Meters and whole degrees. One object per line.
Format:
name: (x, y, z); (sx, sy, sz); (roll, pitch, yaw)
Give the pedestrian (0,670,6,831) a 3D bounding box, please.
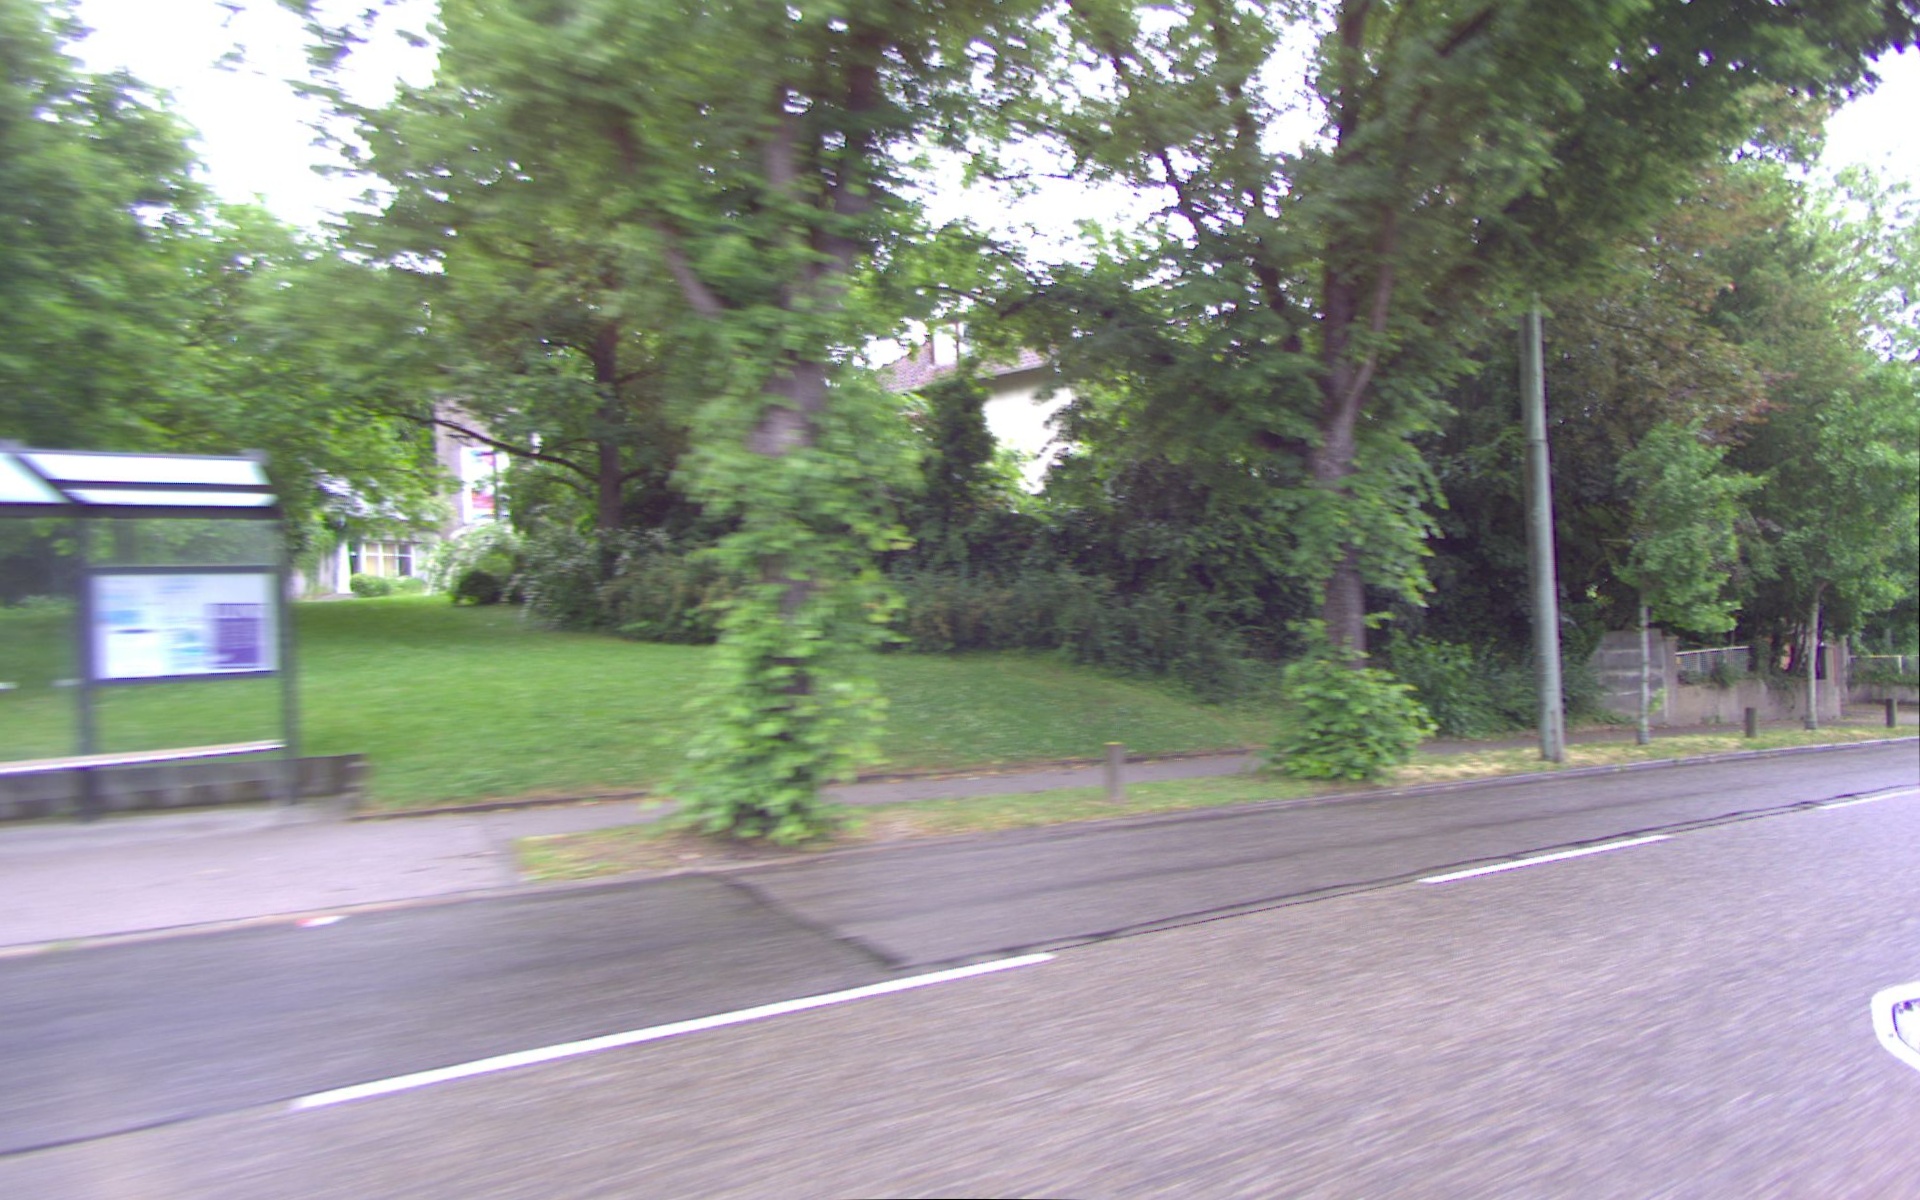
pedestrian: (-8.034, 1.215, 7.728); (0.733, 1.318, 0.774); (2, -2, -22)
